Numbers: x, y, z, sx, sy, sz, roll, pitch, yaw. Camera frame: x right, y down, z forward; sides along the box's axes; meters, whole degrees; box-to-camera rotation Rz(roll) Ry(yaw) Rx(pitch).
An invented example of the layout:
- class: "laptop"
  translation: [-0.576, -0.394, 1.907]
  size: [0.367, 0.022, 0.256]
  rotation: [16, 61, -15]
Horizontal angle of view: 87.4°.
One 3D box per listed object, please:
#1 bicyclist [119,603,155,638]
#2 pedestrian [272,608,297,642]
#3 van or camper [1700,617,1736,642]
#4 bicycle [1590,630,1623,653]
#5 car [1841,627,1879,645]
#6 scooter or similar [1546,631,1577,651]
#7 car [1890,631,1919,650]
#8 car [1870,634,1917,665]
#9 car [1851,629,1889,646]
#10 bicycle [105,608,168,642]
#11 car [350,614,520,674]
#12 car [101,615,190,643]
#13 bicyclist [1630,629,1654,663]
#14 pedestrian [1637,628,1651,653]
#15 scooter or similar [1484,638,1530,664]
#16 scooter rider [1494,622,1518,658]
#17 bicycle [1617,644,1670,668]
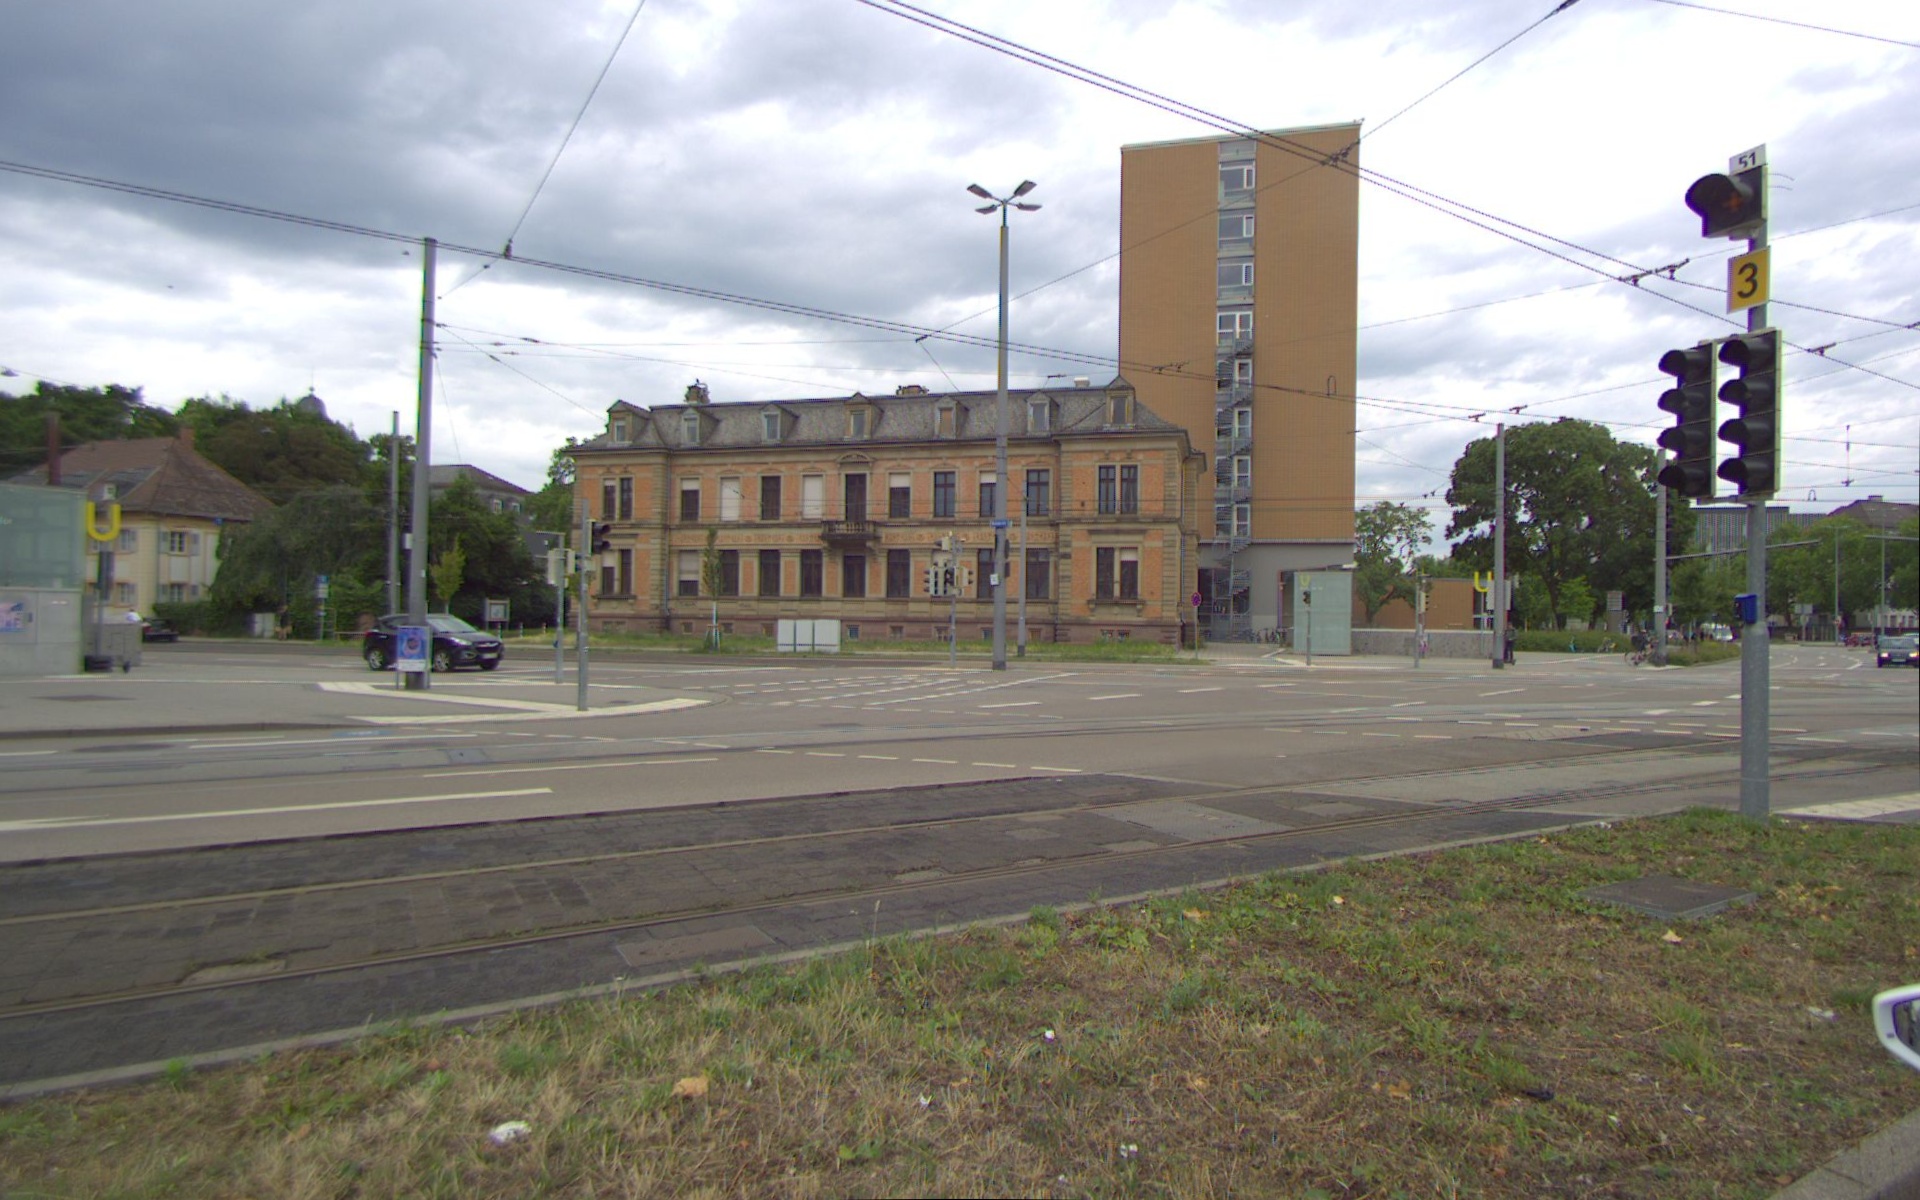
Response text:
- class: "bicyclist"
  translation: [-43.560, 1.068, 53.155]
  size: [0.996, 1.806, 1.093]
  rotation: [1, -1, 17]
- class: "pedestrian"
  translation: [-37.525, 1.406, 55.801]
  size: [0.832, 1.857, 0.810]
  rotation: [1, -1, 13]
- class: "van or camper"
  translation: [80.841, 3.144, 107.200]
  size: [2.245, 2.561, 5.564]
  rotation: [-1, -2, 29]
- class: "bicycle"
  translation: [43.706, 2.803, 67.879]
  size: [2.223, 1.468, 0.844]
  rotation: [1, -1, -25]
- class: "car"
  translation: [94.446, 3.793, 105.468]
  size: [1.963, 1.795, 3.996]
  rotation: [0, -1, 26]
- class: "scooter or similar"
  translation: [40.621, 2.751, 67.856]
  size: [1.744, 1.319, 0.629]
  rotation: [0, -1, 29]
- class: "car"
  translation: [87.460, 3.697, 92.455]
  size: [1.965, 1.661, 3.990]
  rotation: [0, -1, 32]
- class: "car"
  translation: [47.482, 2.486, 51.148]
  size: [1.600, 1.535, 3.646]
  rotation: [-1, -2, 41]
- class: "car"
  translation: [101.040, 4.118, 111.592]
  size: [1.962, 1.773, 3.997]
  rotation: [0, -1, 24]
- class: "bicycle"
  translation: [-43.676, 1.309, 53.256]
  size: [3.024, 1.773, 1.086]
  rotation: [0, -1, 18]
- class: "car"
  translation: [-15.511, 1.274, 29.754]
  size: [4.159, 1.632, 2.001]
  rotation: [1, -1, 14]
- class: "car"
  translation: [-44.921, 1.597, 55.403]
  size: [3.920, 1.450, 2.001]
  rotation: [0, -1, 18]
- class: "bicyclist"
  translation: [34.474, 2.352, 50.777]
  size: [0.804, 1.677, 0.790]
  rotation: [-4, -7, 42]
- class: "pedestrian"
  translation: [48.359, 2.887, 71.010]
  size: [0.681, 1.757, 0.739]
  rotation: [1, -1, -44]
- class: "scooter or similar"
  translation: [25.111, 2.339, 46.122]
  size: [1.872, 1.180, 0.573]
  rotation: [1, -1, -9]
- class: "scooter rider"
  translation: [25.075, 1.824, 46.130]
  size: [0.807, 1.649, 0.568]
  rotation: [1, -1, -9]
- class: "bicycle"
  translation: [34.505, 2.819, 50.697]
  size: [2.090, 1.042, 0.791]
  rotation: [3, -1, 43]
